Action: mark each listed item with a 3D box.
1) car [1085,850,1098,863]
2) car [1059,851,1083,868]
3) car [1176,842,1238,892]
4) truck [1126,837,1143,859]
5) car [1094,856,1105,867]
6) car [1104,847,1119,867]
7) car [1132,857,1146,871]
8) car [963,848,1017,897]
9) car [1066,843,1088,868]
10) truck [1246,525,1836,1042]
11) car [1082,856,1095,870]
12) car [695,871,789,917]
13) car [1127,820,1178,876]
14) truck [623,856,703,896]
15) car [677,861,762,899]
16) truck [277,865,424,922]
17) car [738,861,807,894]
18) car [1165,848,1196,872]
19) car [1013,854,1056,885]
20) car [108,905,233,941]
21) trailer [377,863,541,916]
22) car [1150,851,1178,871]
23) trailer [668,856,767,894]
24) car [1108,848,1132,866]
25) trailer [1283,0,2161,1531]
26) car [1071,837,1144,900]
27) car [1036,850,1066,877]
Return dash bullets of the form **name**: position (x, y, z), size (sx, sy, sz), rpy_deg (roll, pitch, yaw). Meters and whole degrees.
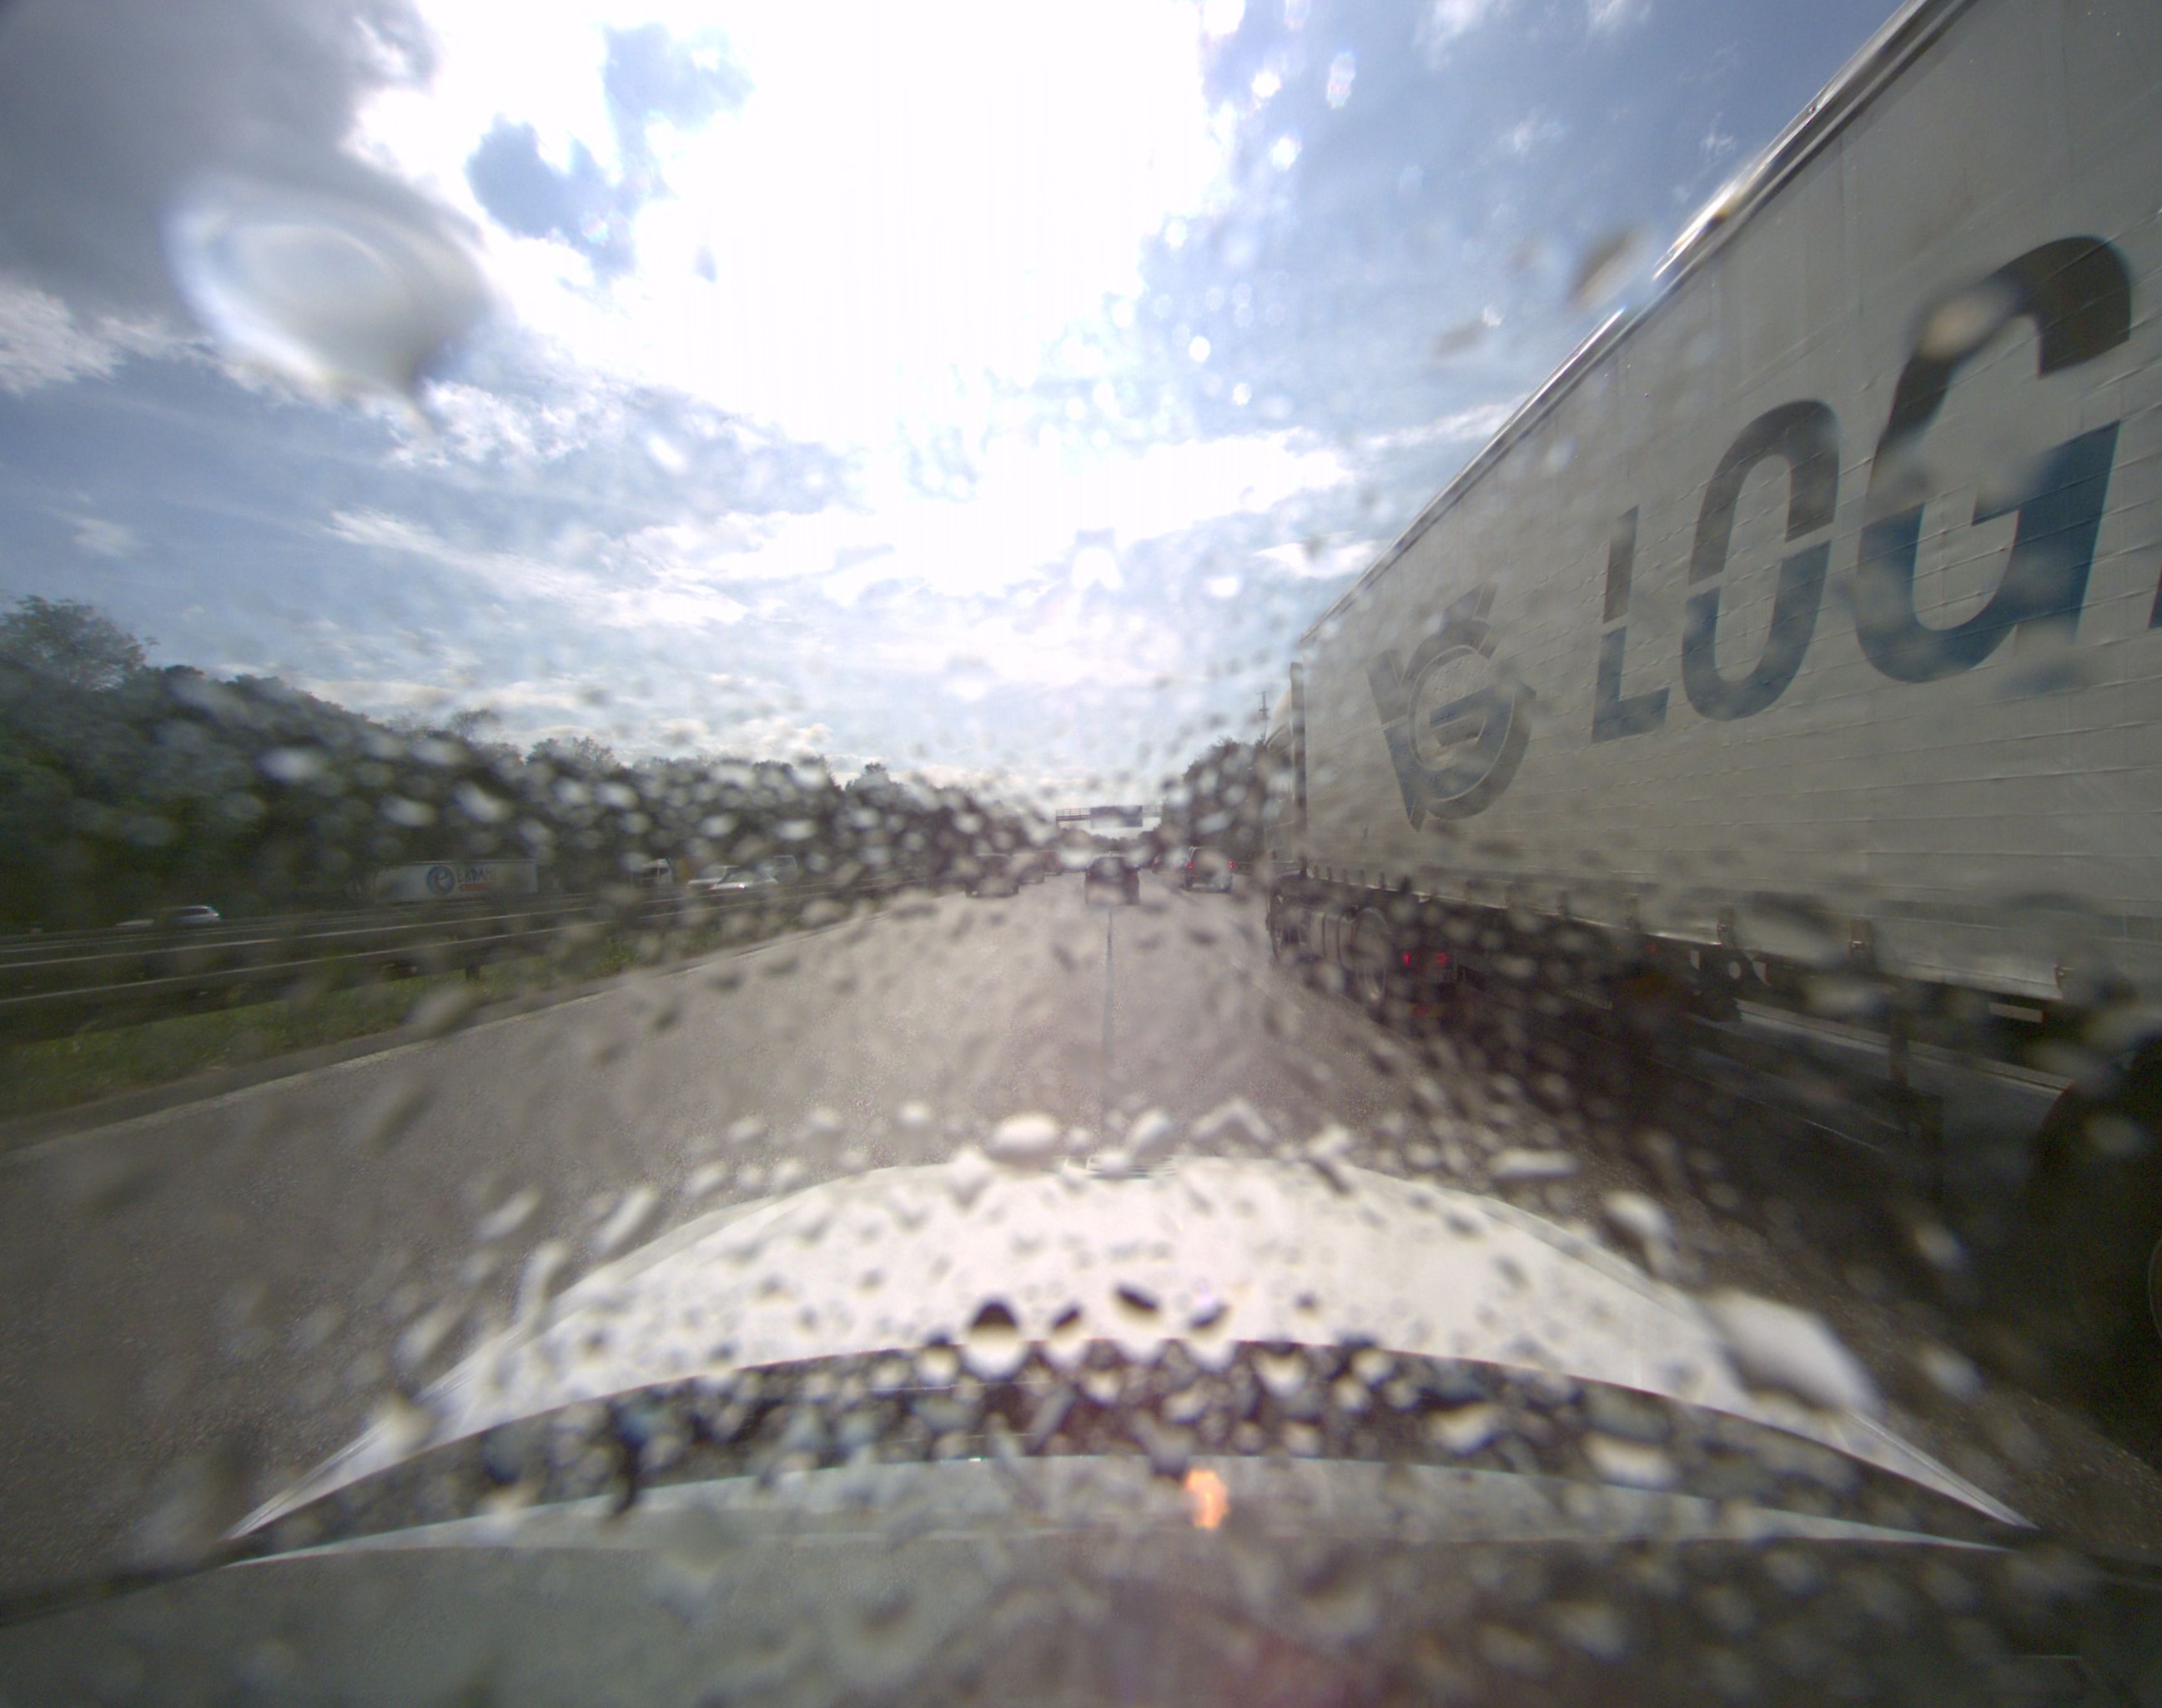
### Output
- **car**: position (1.877, 0.403, 141.355), size (1.985, 2.115, 4.892), rpy_deg (-1, -1, 3)
- **car**: position (-0.915, 0.508, 76.019), size (1.985, 1.565, 4.759), rpy_deg (-1, -1, 3)
- **car**: position (5.298, 0.539, 34.995), size (1.934, 1.919, 5.654), rpy_deg (-1, -1, 2)
- **truck**: position (9.139, -1.003, 140.595), size (2.764, 3.632, 5.921), rpy_deg (-1, -1, 3)
- **car**: position (3.827, 1.546, 168.627), size (1.985, 2.115, 4.892), rpy_deg (-1, -1, 3)
- **car**: position (4.368, 0.409, 115.877), size (1.985, 2.746, 5.263), rpy_deg (-1, -1, 3)
- **car**: position (9.084, 1.586, 127.305), size (1.985, 2.115, 4.892), rpy_deg (-1, -1, 3)
- **car**: position (-3.595, 0.720, 32.800), size (1.687, 1.805, 3.976), rpy_deg (-1, -1, 0)
- **car**: position (-0.425, 0.186, 86.266), size (1.985, 2.615, 5.263), rpy_deg (-1, -1, 3)
- **truck**: position (4.120, -0.531, 9.360), size (3.272, 3.891, 6.397), rpy_deg (0, 0, 1)
- **car**: position (1.256, 1.479, 134.070), size (1.985, 2.115, 4.892), rpy_deg (-1, -1, 3)
- **car**: position (-15.618, 1.794, 37.897), size (2.039, 1.891, 5.261), rpy_deg (-1, -1, 2)
- **car**: position (7.984, -0.574, 93.446), size (4.389, 5.830, 16.815), rpy_deg (-1, -1, 0)
- **truck**: position (-44.247, 2.257, 86.494), size (3.759, 4.117, 7.074), rpy_deg (-1, -1, 15)
- **car**: position (-19.122, 1.333, 43.362), size (2.039, 1.891, 5.261), rpy_deg (-1, -1, 2)
- **truck**: position (-50.351, 2.634, 56.466), size (3.767, 3.660, 6.719), rpy_deg (-1, -1, 7)
- **car**: position (-18.821, 1.392, 49.977), size (2.039, 1.891, 5.261), rpy_deg (-1, -1, 2)
- **car**: position (6.619, 0.395, 54.488), size (1.585, 1.516, 3.976), rpy_deg (-1, -1, 0)
- **car**: position (-2.591, 0.879, 46.662), size (1.901, 1.636, 4.620), rpy_deg (-2, -1, 3)
- **car**: position (-51.822, 3.883, 46.484), size (2.049, 1.718, 4.373), rpy_deg (-1, -1, 5)
- **trailer**: position (-49.081, 2.649, 64.904), size (3.766, 3.649, 10.525), rpy_deg (-2, 0, 9)
- **car**: position (6.531, 0.575, 64.578), size (1.859, 1.516, 3.975), rpy_deg (-1, -1, 0)
- **trailer**: position (-41.954, 2.307, 94.646), size (3.759, 4.117, 11.773), rpy_deg (-1, -1, 15)
- **car**: position (3.353, 0.284, 70.880), size (1.859, 1.516, 3.975), rpy_deg (-1, -1, 0)
- **trailer**: position (3.953, -0.517, 2.876), size (3.272, 3.898, 14.132), rpy_deg (0, 0, 1)
- **car**: position (0.876, 0.483, 27.872), size (2.266, 1.954, 4.821), rpy_deg (-1, -1, 1)
- **car**: position (-2.319, 0.786, 65.024), size (1.970, 2.054, 4.759), rpy_deg (-1, -1, 3)
